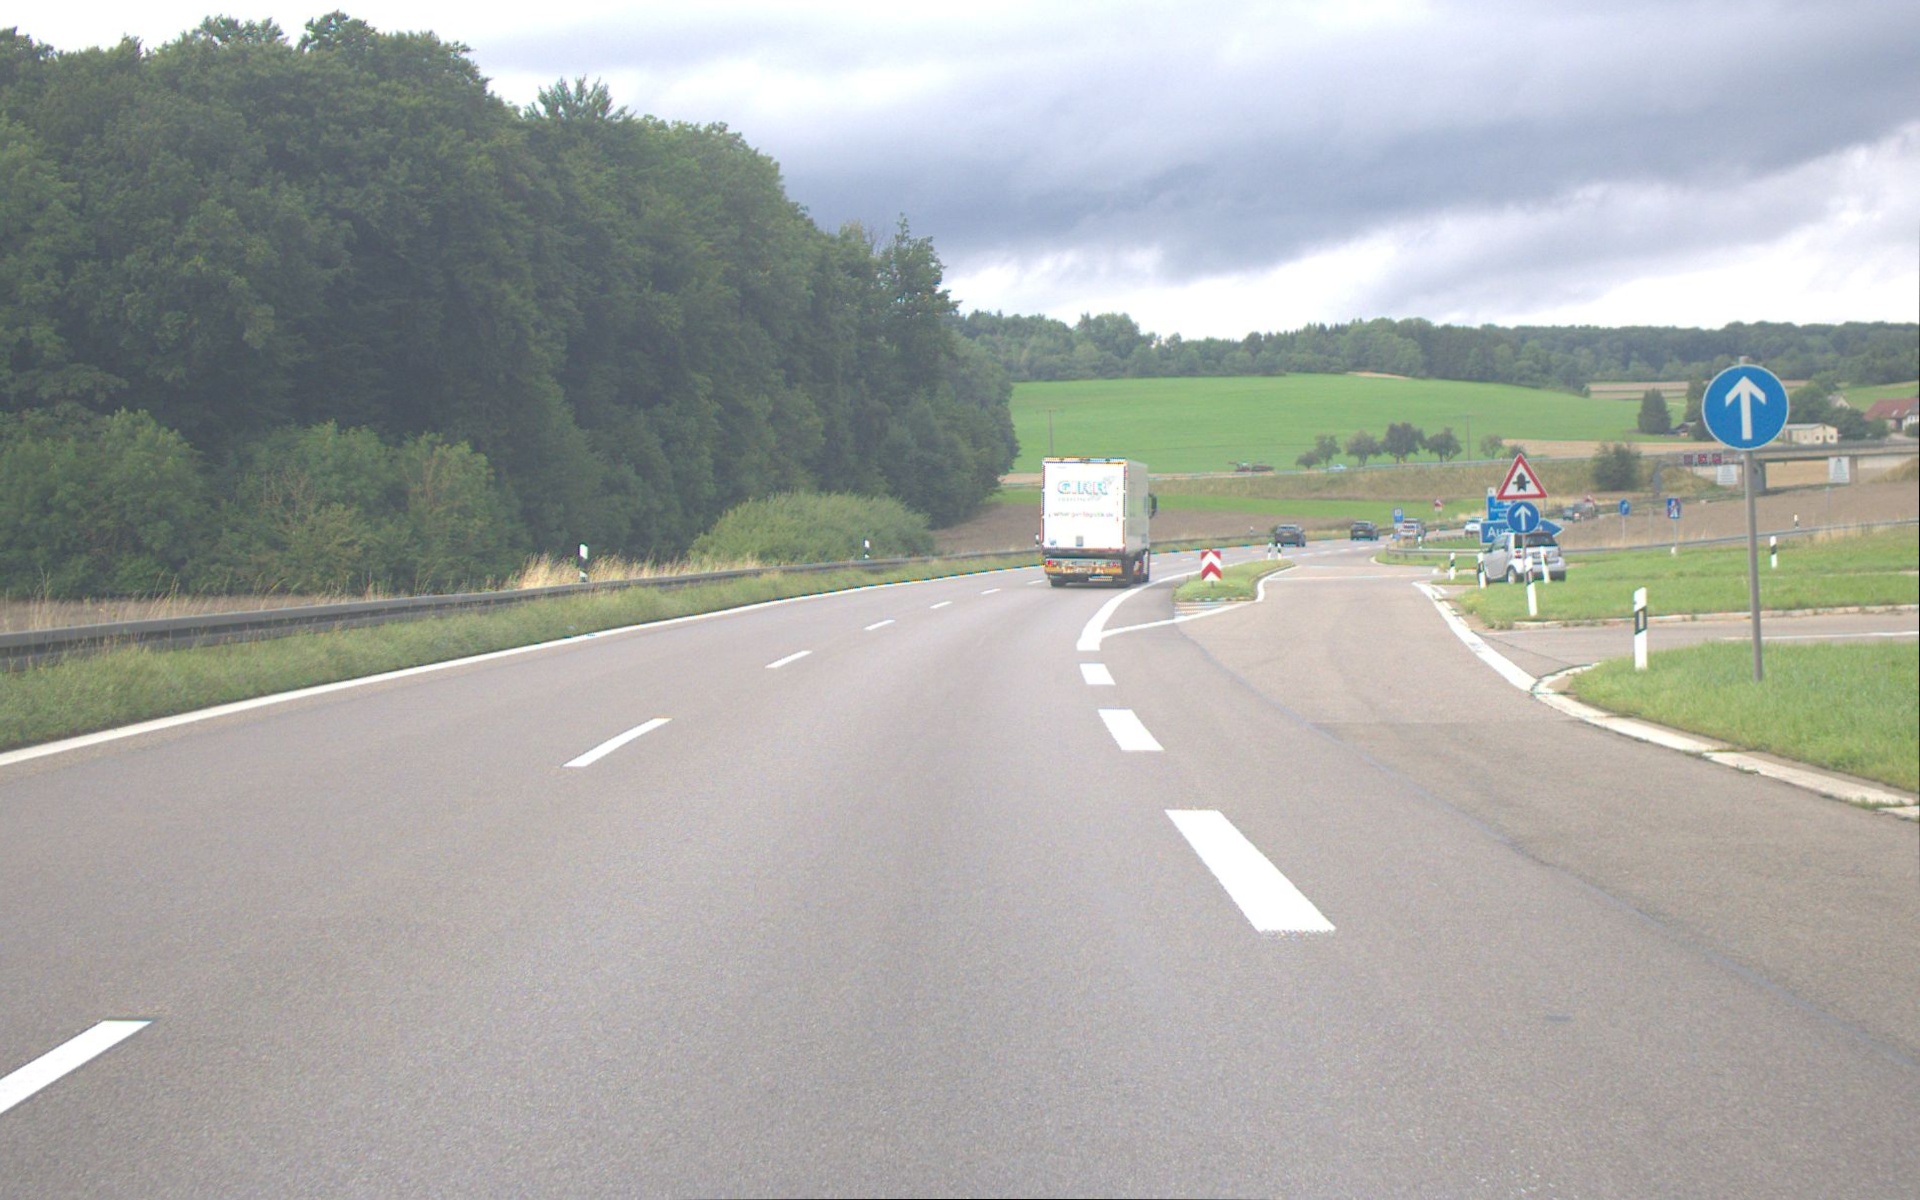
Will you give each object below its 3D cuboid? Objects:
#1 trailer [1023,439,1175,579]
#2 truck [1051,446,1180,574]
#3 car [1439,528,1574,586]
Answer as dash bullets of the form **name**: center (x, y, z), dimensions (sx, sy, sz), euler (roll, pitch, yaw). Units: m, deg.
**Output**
- **trailer**: center (4.615, -2.892, 110.382), dimensions (3.806, 4.160, 14.805), euler (0, 1, 6)
- **truck**: center (5.390, -3.076, 117.501), dimensions (3.788, 4.117, 8.263), euler (1, 2, 6)
- **car**: center (15.300, -1.218, 96.417), dimensions (1.777, 1.546, 4.001), euler (-2, 2, -25)
